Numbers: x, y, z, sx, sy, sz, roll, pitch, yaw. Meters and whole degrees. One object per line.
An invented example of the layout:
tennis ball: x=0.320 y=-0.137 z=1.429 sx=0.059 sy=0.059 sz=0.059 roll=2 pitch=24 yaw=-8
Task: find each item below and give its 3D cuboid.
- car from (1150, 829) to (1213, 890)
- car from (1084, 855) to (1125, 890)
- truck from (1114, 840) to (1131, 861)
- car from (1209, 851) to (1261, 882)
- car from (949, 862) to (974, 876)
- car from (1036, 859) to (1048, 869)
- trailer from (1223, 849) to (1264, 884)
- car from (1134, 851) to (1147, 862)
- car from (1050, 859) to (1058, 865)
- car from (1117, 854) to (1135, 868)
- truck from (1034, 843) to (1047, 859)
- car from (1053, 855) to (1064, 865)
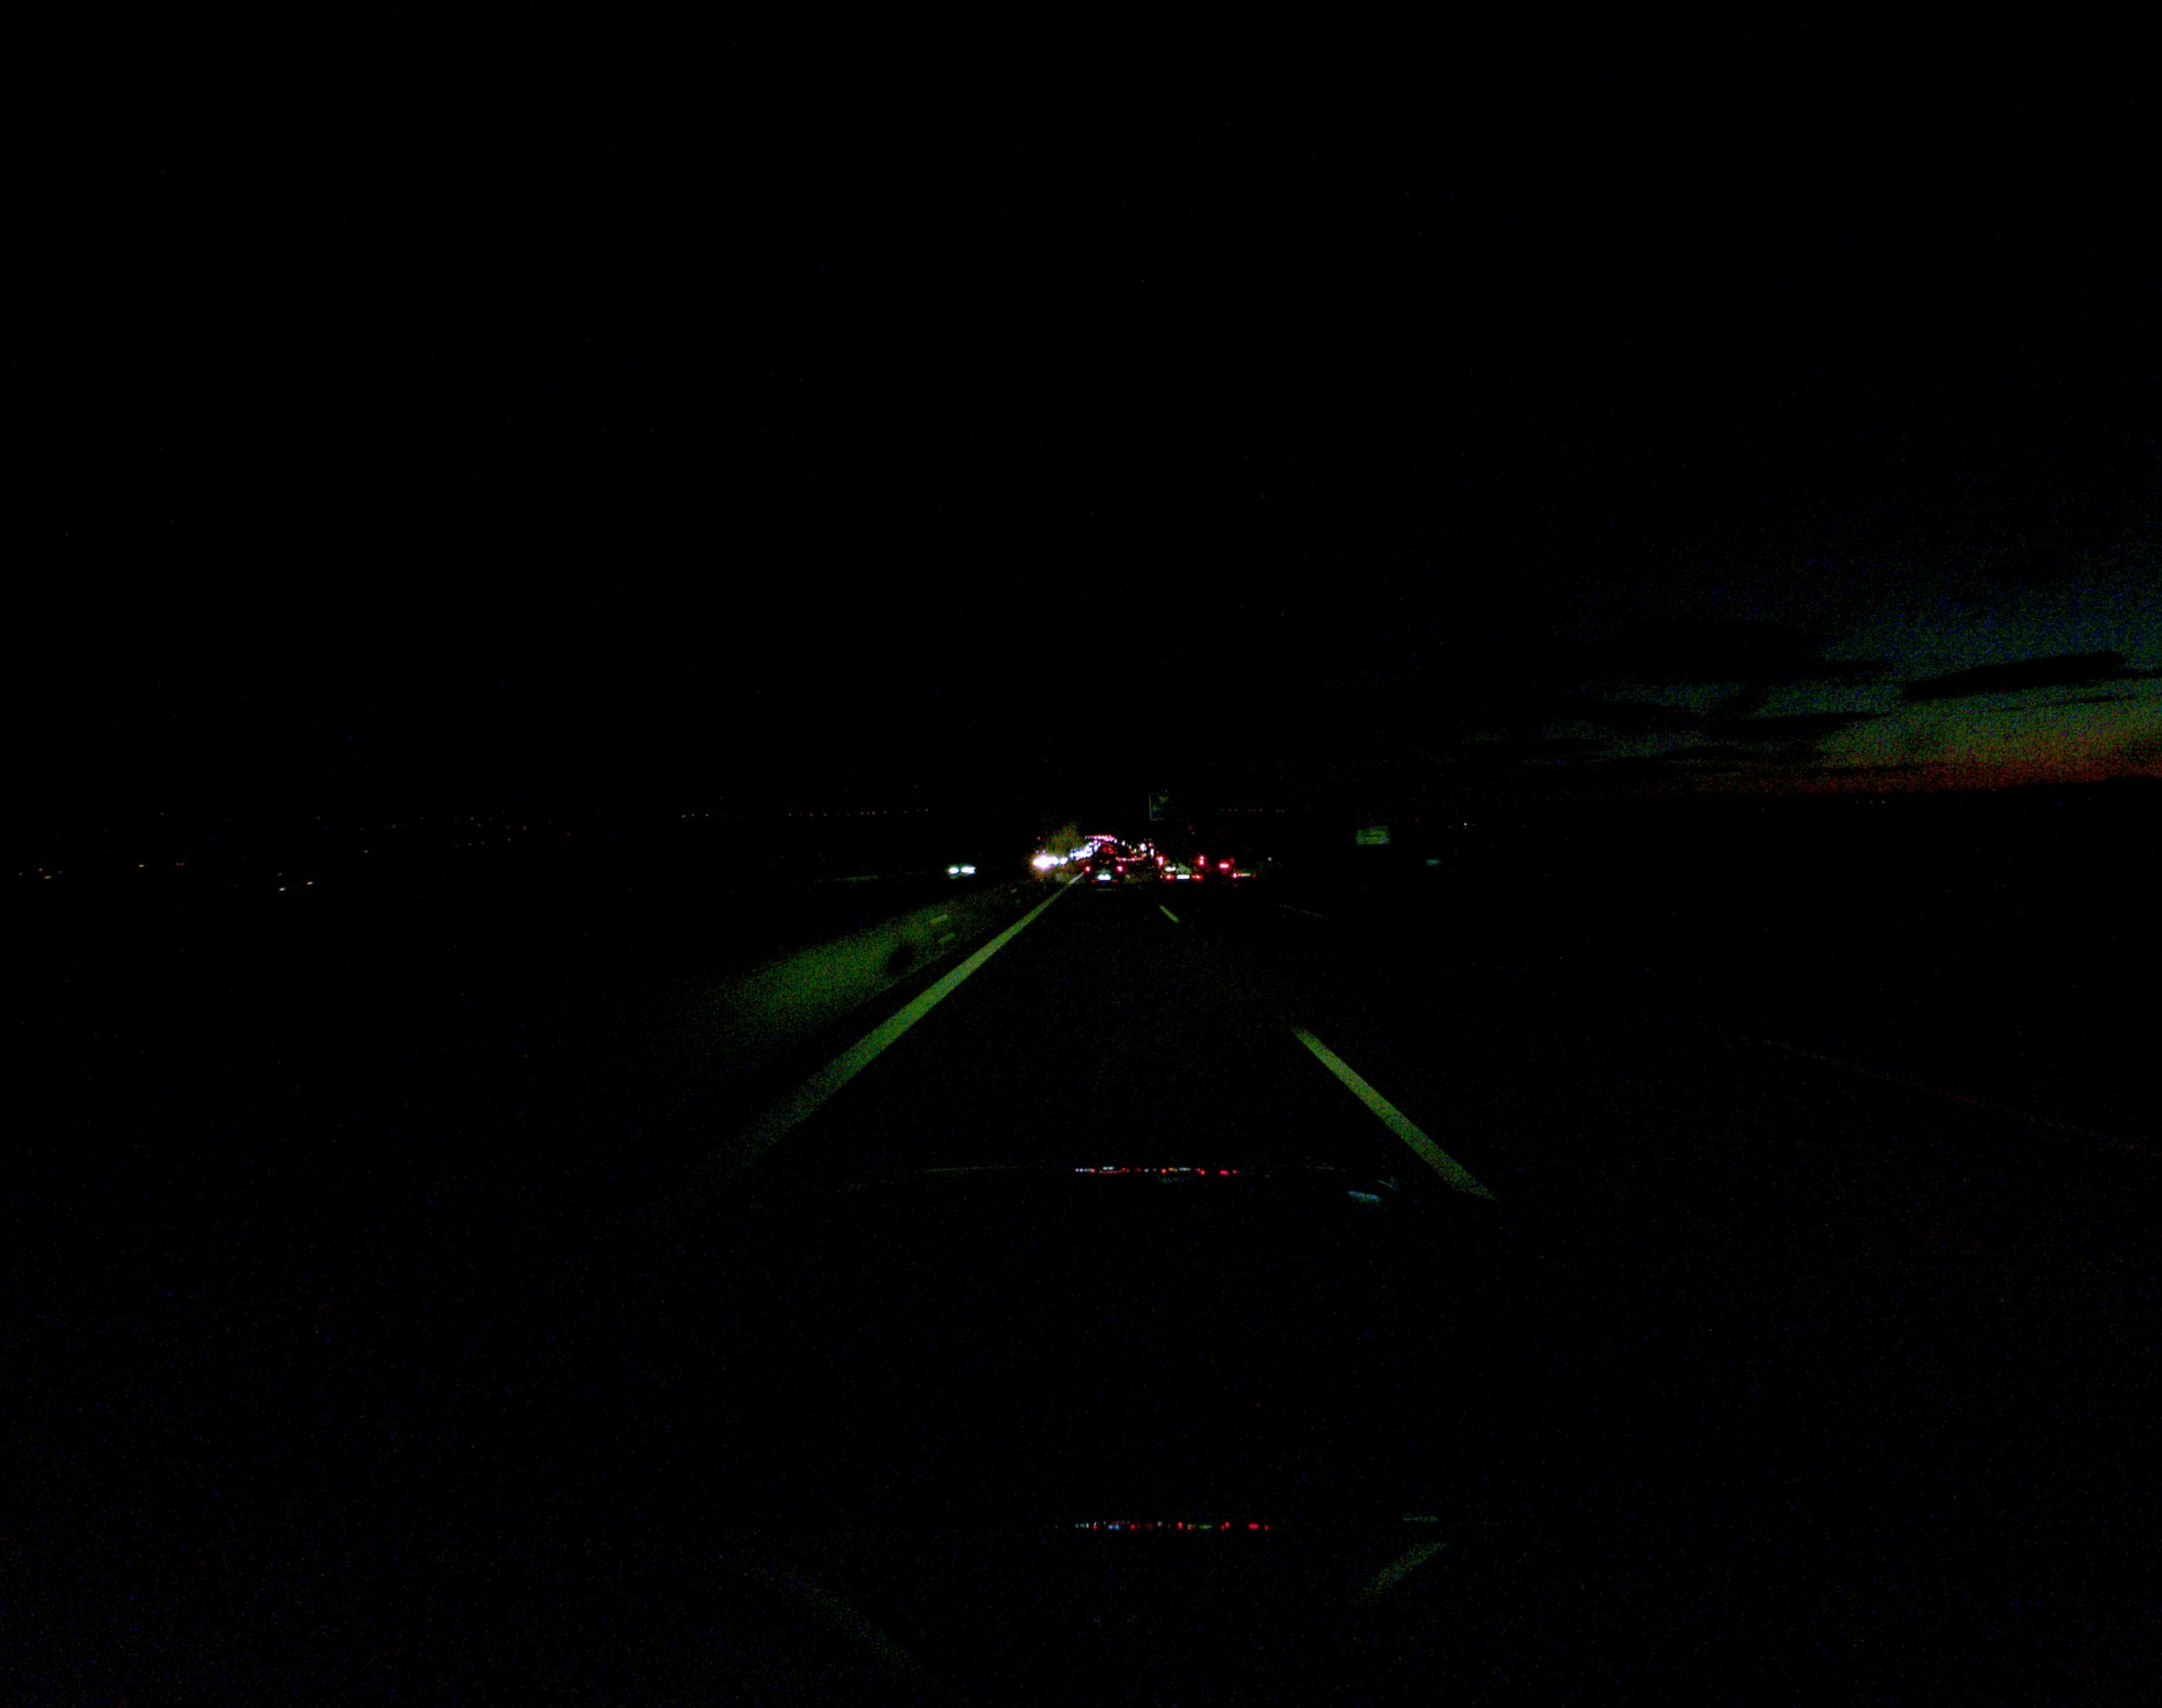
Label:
car: x=4.578 y=0.198 z=37.971 sx=2.342 sy=2.535 sz=5.704 roll=-2 pitch=0 yaw=2
car: x=1.125 y=0.821 z=37.879 sx=1.787 sy=1.469 sz=3.775 roll=-1 pitch=0 yaw=2
truck: x=7.876 y=-0.618 z=156.536 sx=2.772 sy=3.955 sz=7.993 roll=-2 pitch=0 yaw=0
car: x=8.498 y=0.648 z=45.398 sx=2.154 sy=1.563 sz=4.725 roll=-1 pitch=0 yaw=2
car: x=-13.799 y=1.725 z=94.307 sx=1.987 sy=1.478 sz=5.045 roll=-4 pitch=0 yaw=1
car: x=-7.080 y=1.828 z=147.721 sx=1.805 sy=1.643 sz=4.159 roll=-2 pitch=0 yaw=2
trailer: x=8.311 y=0.617 z=41.770 sx=1.560 sy=1.693 sz=2.822 roll=-2 pitch=0 yaw=2
car: x=12.228 y=0.465 z=166.846 sx=2.342 sy=2.076 sz=4.725 roll=-2 pitch=0 yaw=2
car: x=-8.037 y=2.315 z=245.064 sx=1.986 sy=1.632 sz=4.001 roll=-1 pitch=0 yaw=2
car: x=6.444 y=0.998 z=116.642 sx=2.342 sy=1.914 sz=4.725 roll=-2 pitch=0 yaw=2
truck: x=-10.257 y=-0.698 z=208.171 sx=2.772 sy=3.955 sz=7.993 roll=-2 pitch=0 yaw=0
car: x=-4.116 y=1.073 z=150.952 sx=1.805 sy=1.643 sz=4.159 roll=-2 pitch=0 yaw=2
